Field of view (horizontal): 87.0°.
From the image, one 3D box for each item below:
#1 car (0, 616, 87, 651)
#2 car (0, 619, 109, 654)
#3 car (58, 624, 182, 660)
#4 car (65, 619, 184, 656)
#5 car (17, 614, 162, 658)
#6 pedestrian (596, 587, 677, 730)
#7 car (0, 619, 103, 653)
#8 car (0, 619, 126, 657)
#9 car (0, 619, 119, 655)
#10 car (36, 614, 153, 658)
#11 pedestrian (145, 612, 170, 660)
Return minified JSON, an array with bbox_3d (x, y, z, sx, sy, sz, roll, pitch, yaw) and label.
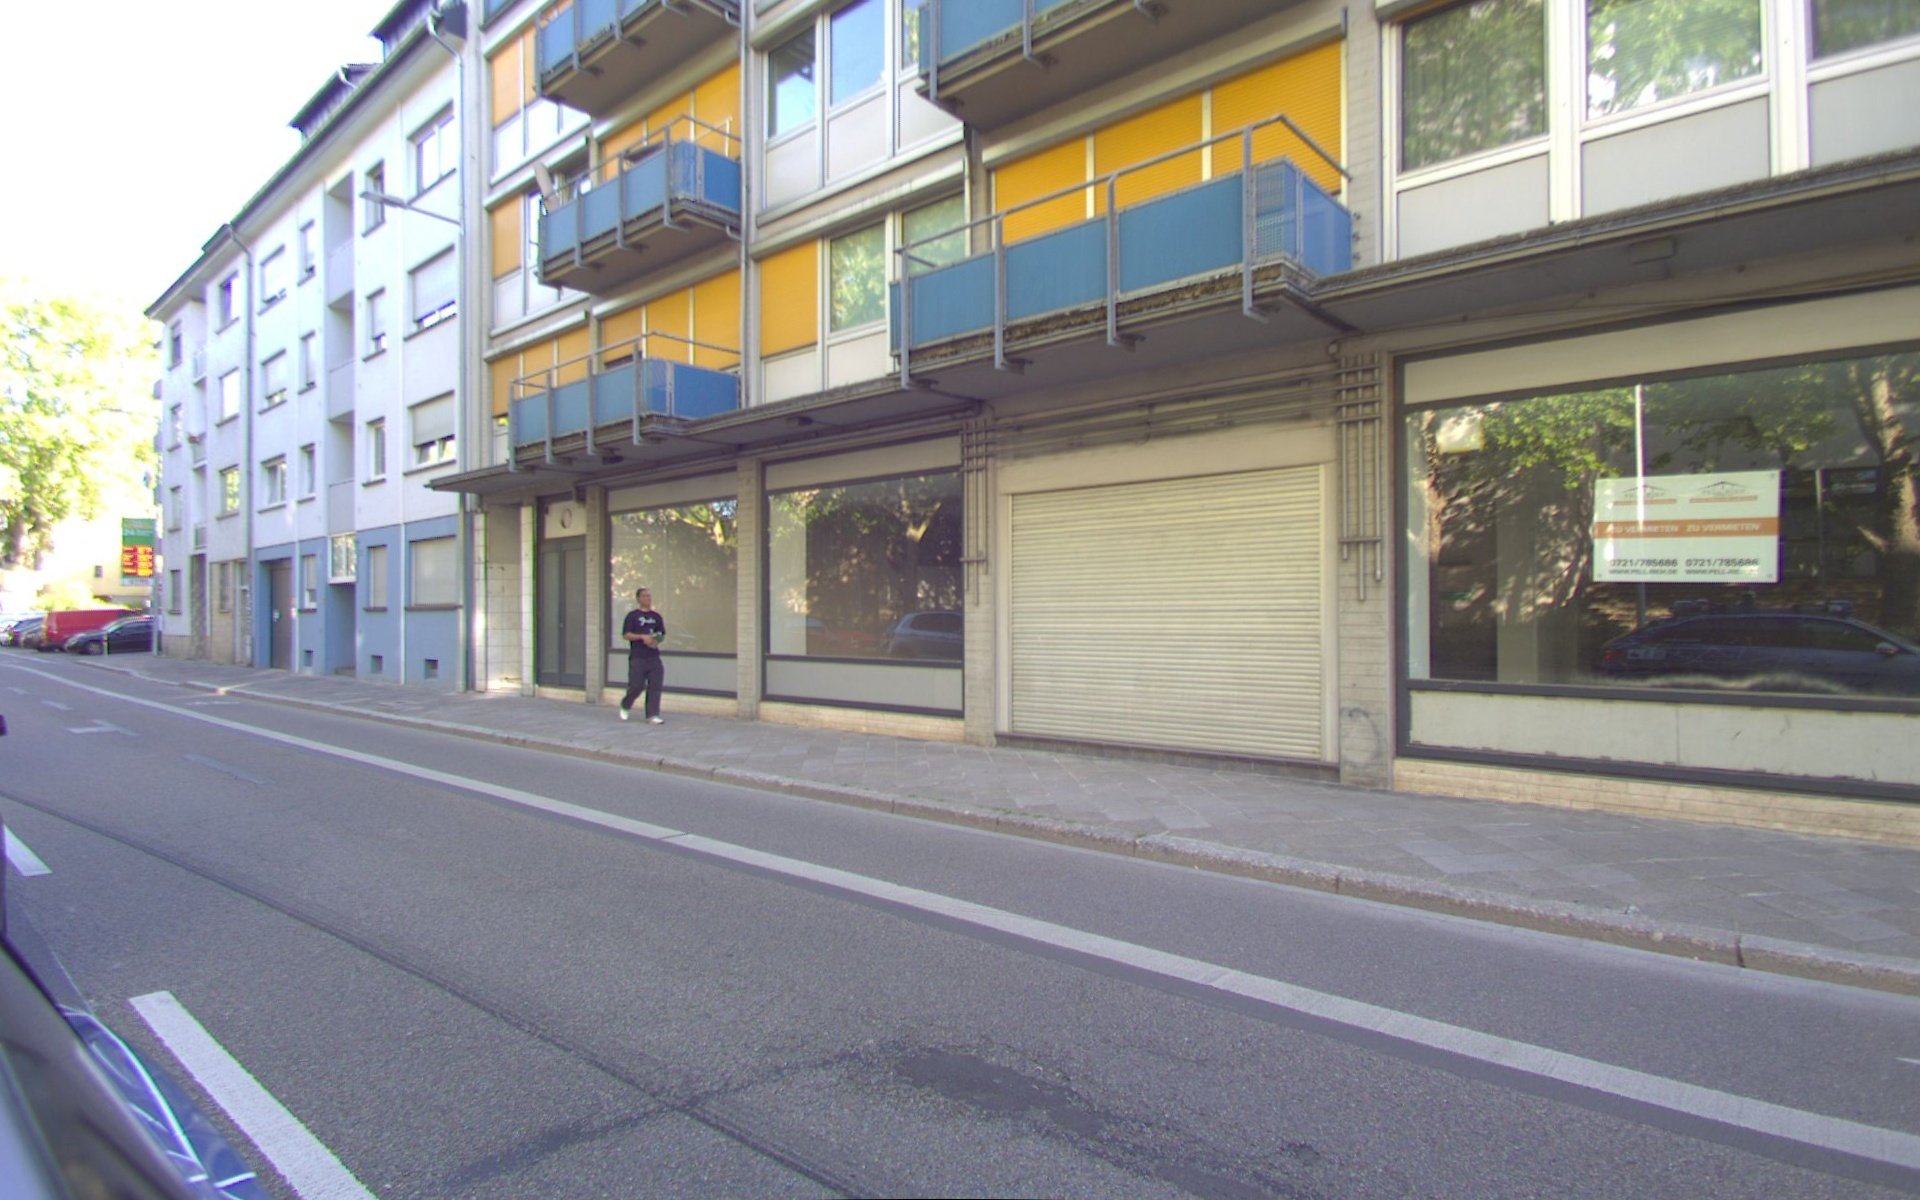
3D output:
[{"bbox_3d":[-59.330,2.106,64.717,2.186,2.164,5.077,-1,-1,41],"label":"car"},{"bbox_3d":[-54.109,2.138,60.360,2.082,1.952,4.928,-1,-1,41],"label":"car"},{"bbox_3d":[-36.539,1.793,44.081,1.742,1.431,3.946,-1,-1,41],"label":"car"},{"bbox_3d":[-37.864,1.684,45.946,1.742,1.572,3.946,-1,-1,41],"label":"car"},{"bbox_3d":[-42.677,1.707,49.718,2.256,1.995,5.156,-1,-1,41],"label":"car"},{"bbox_3d":[-4.183,0.732,13.085,0.793,1.785,0.655,-1,-1,41],"label":"pedestrian"},{"bbox_3d":[-55.956,2.166,61.991,2.314,1.952,4.978,-1,-1,41],"label":"car"},{"bbox_3d":[-50.284,2.093,56.834,2.186,1.952,5.077,-1,-1,41],"label":"car"},{"bbox_3d":[-52.223,2.117,58.723,2.159,1.952,4.990,-1,-1,41],"label":"car"},{"bbox_3d":[-40.577,1.640,47.520,1.866,1.952,3.946,-1,-1,41],"label":"car"},{"bbox_3d":[-30.101,1.355,37.958,0.756,1.760,0.600,-1,0,41],"label":"pedestrian"}]
